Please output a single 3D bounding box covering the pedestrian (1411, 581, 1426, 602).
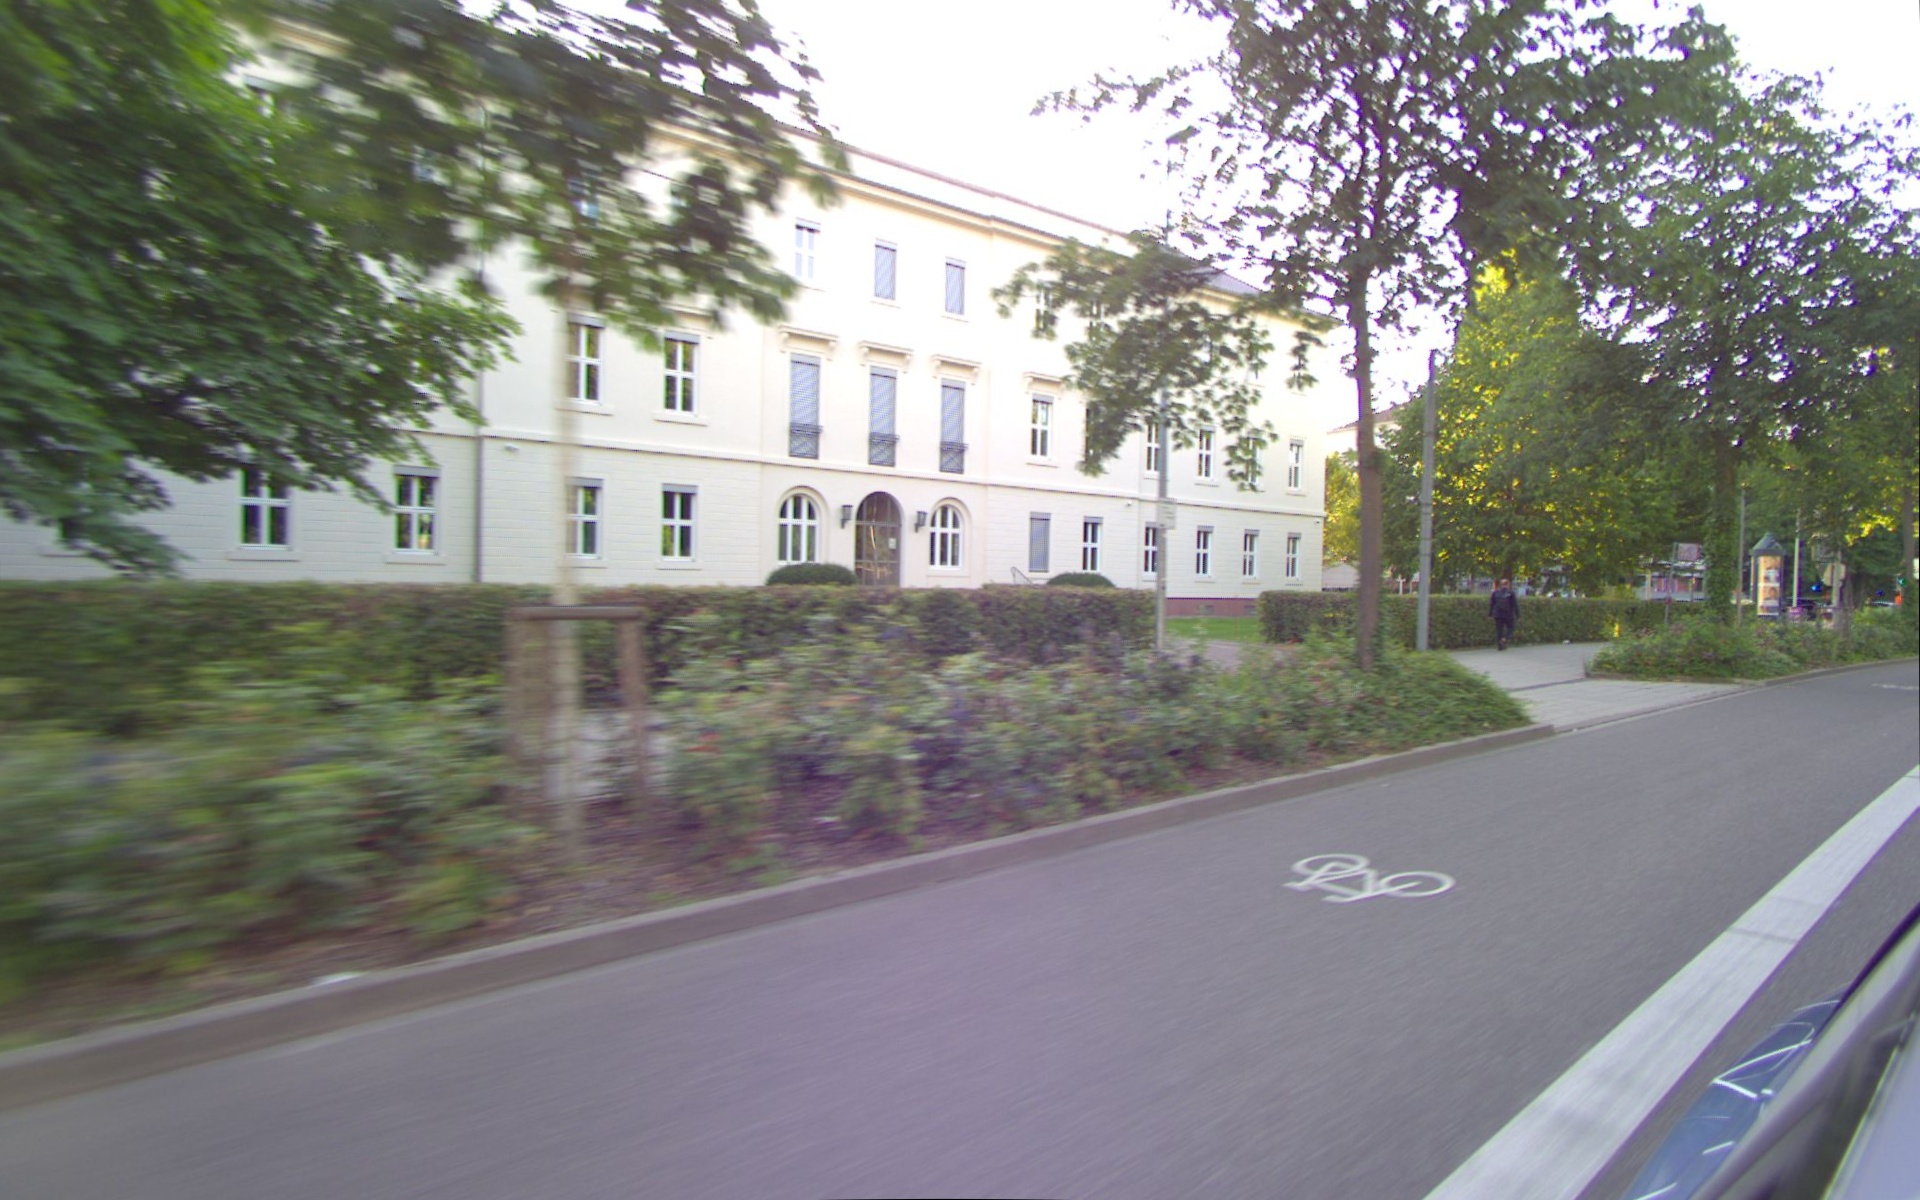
[{"bbox_3d":[39.394,-0.748,86.971,0.690,1.760,0.898,1,0,-26],"label":"pedestrian"}]

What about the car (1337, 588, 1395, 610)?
[{"bbox_3d":[32.096,-0.070,80.010,1.862,1.660,4.006,1,1,-27],"label":"car"}]

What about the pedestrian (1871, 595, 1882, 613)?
[{"bbox_3d":[95.769,0.379,105.743,0.829,1.865,0.683,1,0,-35],"label":"pedestrian"}]

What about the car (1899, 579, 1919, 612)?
[{"bbox_3d":[97.715,-0.404,101.447,8.128,3.284,2.777,0,1,-28],"label":"car"}]

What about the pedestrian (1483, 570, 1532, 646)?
[{"bbox_3d":[12.846,0.174,23.743,0.794,1.760,0.770,0,1,-44],"label":"pedestrian"}]

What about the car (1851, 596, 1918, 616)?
[{"bbox_3d":[74.206,0.449,81.291,1.631,1.477,3.671,0,1,-29],"label":"car"}]

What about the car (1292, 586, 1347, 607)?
[{"bbox_3d":[29.854,-0.310,84.074,1.959,1.632,4.006,0,1,-28],"label":"car"}]

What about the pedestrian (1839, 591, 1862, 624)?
[{"bbox_3d":[45.767,0.373,51.988,0.829,1.643,0.683,1,0,-34],"label":"pedestrian"}]

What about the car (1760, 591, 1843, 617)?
[{"bbox_3d":[61.228,0.260,73.711,1.880,1.762,4.245,1,1,-29],"label":"car"}]

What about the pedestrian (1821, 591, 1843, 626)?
[{"bbox_3d":[45.367,0.425,52.656,0.675,1.776,0.683,1,0,-34],"label":"pedestrian"}]
